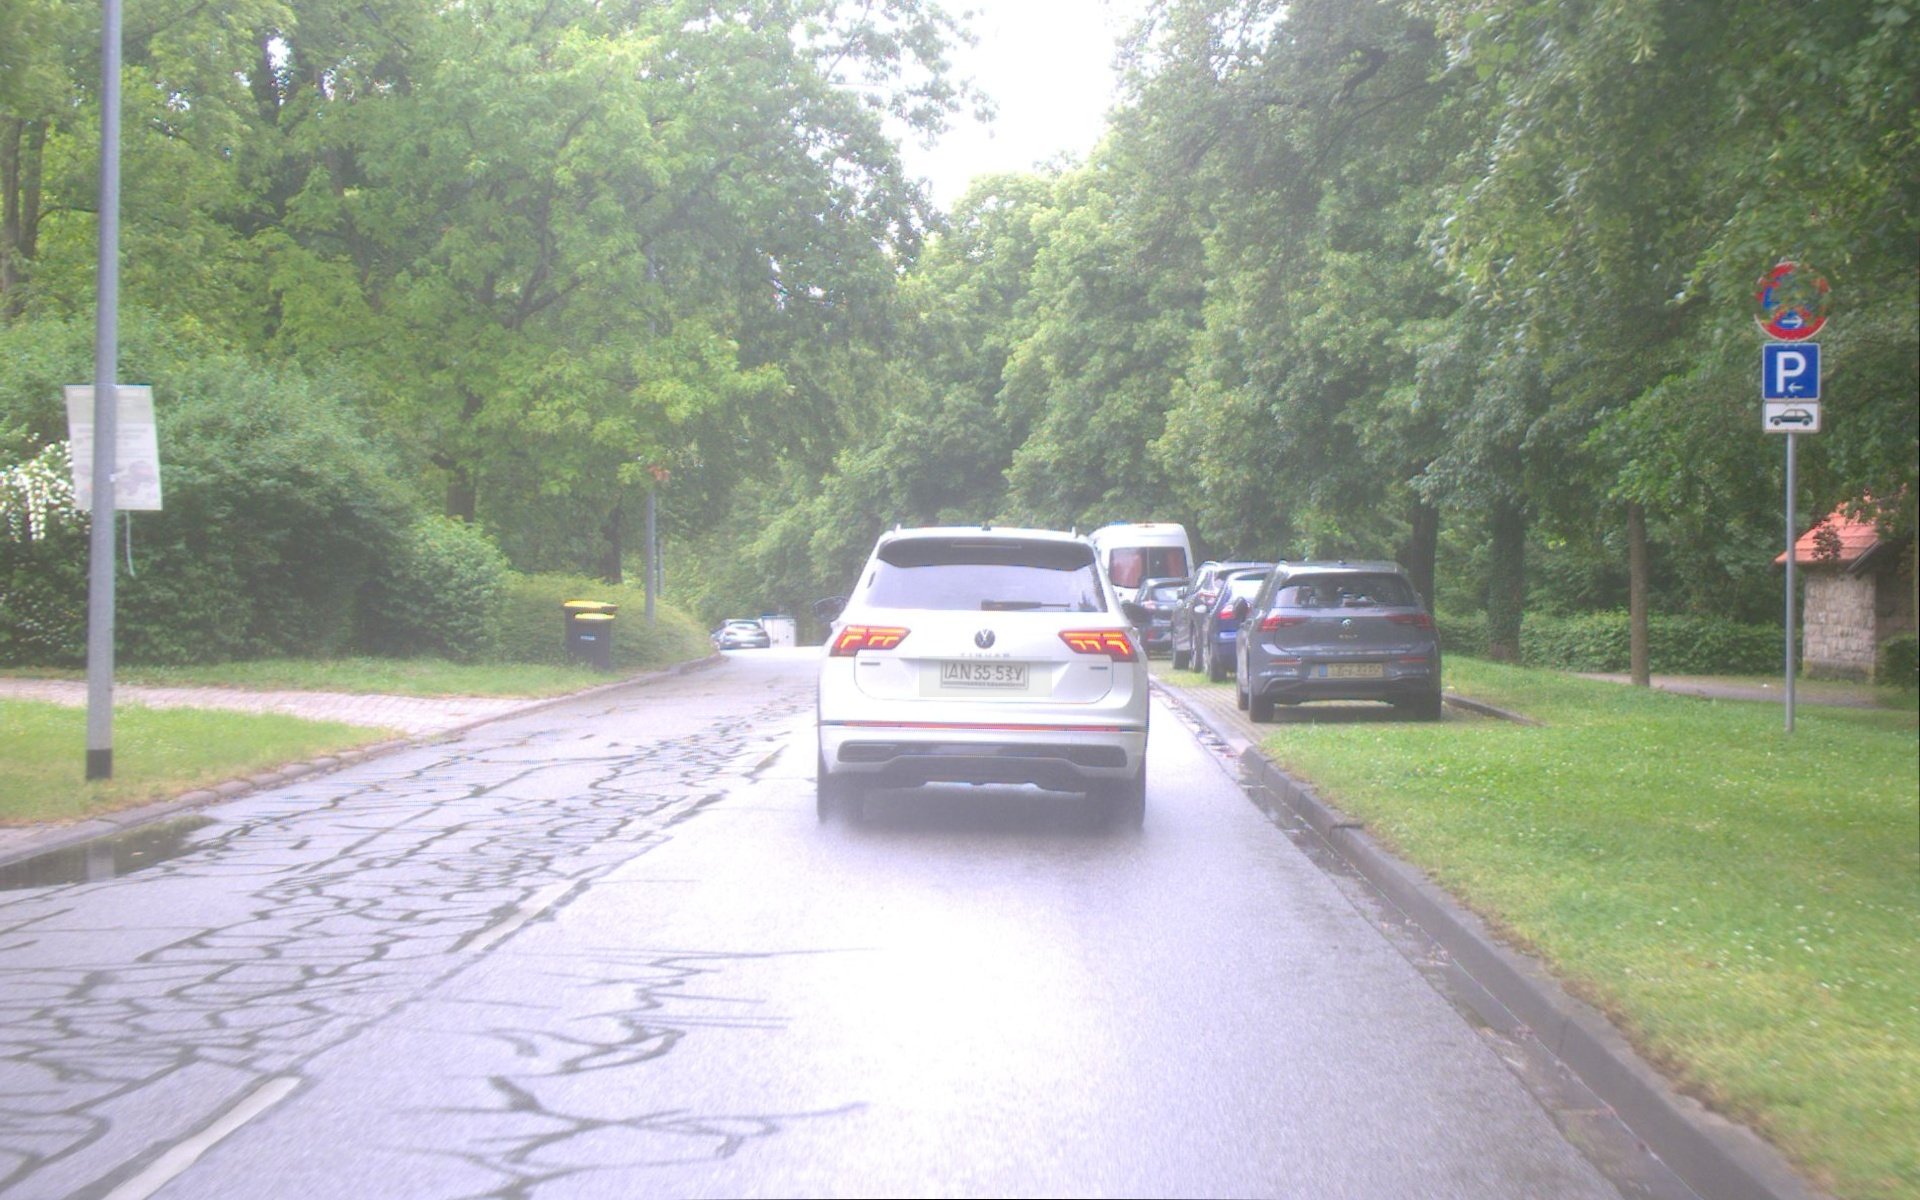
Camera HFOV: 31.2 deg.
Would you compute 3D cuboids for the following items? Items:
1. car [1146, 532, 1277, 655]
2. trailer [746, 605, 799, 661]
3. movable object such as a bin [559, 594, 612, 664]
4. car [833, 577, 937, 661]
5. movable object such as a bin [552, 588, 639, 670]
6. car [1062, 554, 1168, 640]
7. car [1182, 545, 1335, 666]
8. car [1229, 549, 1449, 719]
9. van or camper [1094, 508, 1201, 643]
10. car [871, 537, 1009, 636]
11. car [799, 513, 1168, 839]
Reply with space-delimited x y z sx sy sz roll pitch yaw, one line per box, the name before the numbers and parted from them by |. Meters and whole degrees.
car | 3.696 -0.118 51.163 1.781 1.713 4.261 -1 1 2
trailer | -7.539 1.330 138.232 1.529 2.069 4.000 -1 -3 -11
movable object such as a bin | -5.354 0.407 49.148 0.648 0.976 0.578 2 0 3
car | -1.923 0.452 87.406 1.993 2.006 4.001 0 2 -11
movable object such as a bin | -5.128 0.405 48.405 1.037 1.101 0.966 -2 0 3
car | 2.819 -0.074 62.647 1.865 1.506 3.724 -1 1 2
car | 3.777 0.041 44.032 1.743 1.447 4.000 -1 1 2
car | 3.501 0.282 32.377 1.700 1.456 4.217 -1 0 2
van or camper | 3.821 -0.542 71.258 2.016 2.574 8.435 2 1 2
car | -0.458 -0.325 73.446 1.993 2.006 4.001 0 2 -15
car | 0.086 0.373 20.087 1.905 1.679 4.201 1 1 -1
